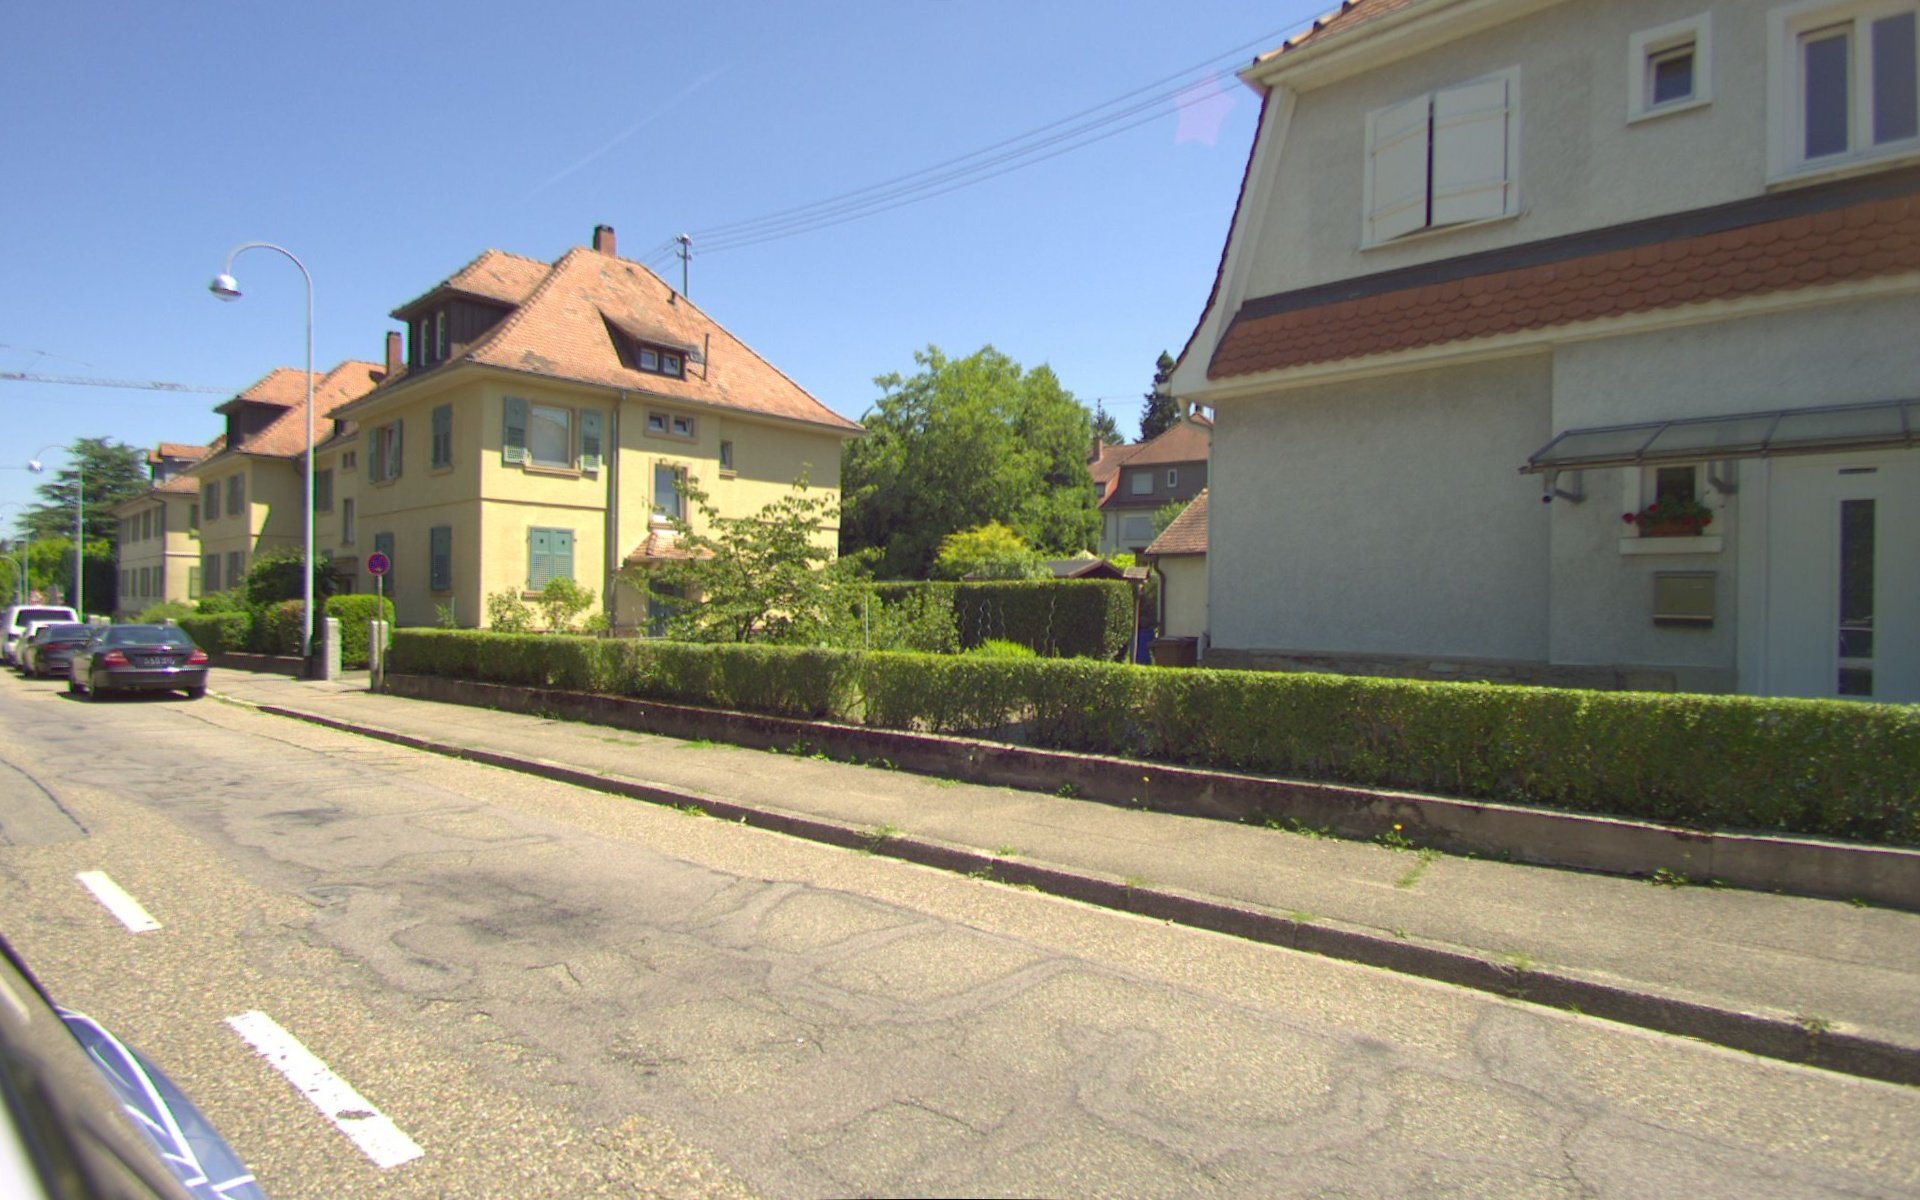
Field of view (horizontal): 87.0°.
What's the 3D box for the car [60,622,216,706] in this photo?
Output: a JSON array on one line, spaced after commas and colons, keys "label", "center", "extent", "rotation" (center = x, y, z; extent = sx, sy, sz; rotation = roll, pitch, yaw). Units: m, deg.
[{"label": "car", "center": [-15.804, 1.165, 19.395], "extent": [4.000, 1.409, 1.730], "rotation": [-1, -3, 43]}]
